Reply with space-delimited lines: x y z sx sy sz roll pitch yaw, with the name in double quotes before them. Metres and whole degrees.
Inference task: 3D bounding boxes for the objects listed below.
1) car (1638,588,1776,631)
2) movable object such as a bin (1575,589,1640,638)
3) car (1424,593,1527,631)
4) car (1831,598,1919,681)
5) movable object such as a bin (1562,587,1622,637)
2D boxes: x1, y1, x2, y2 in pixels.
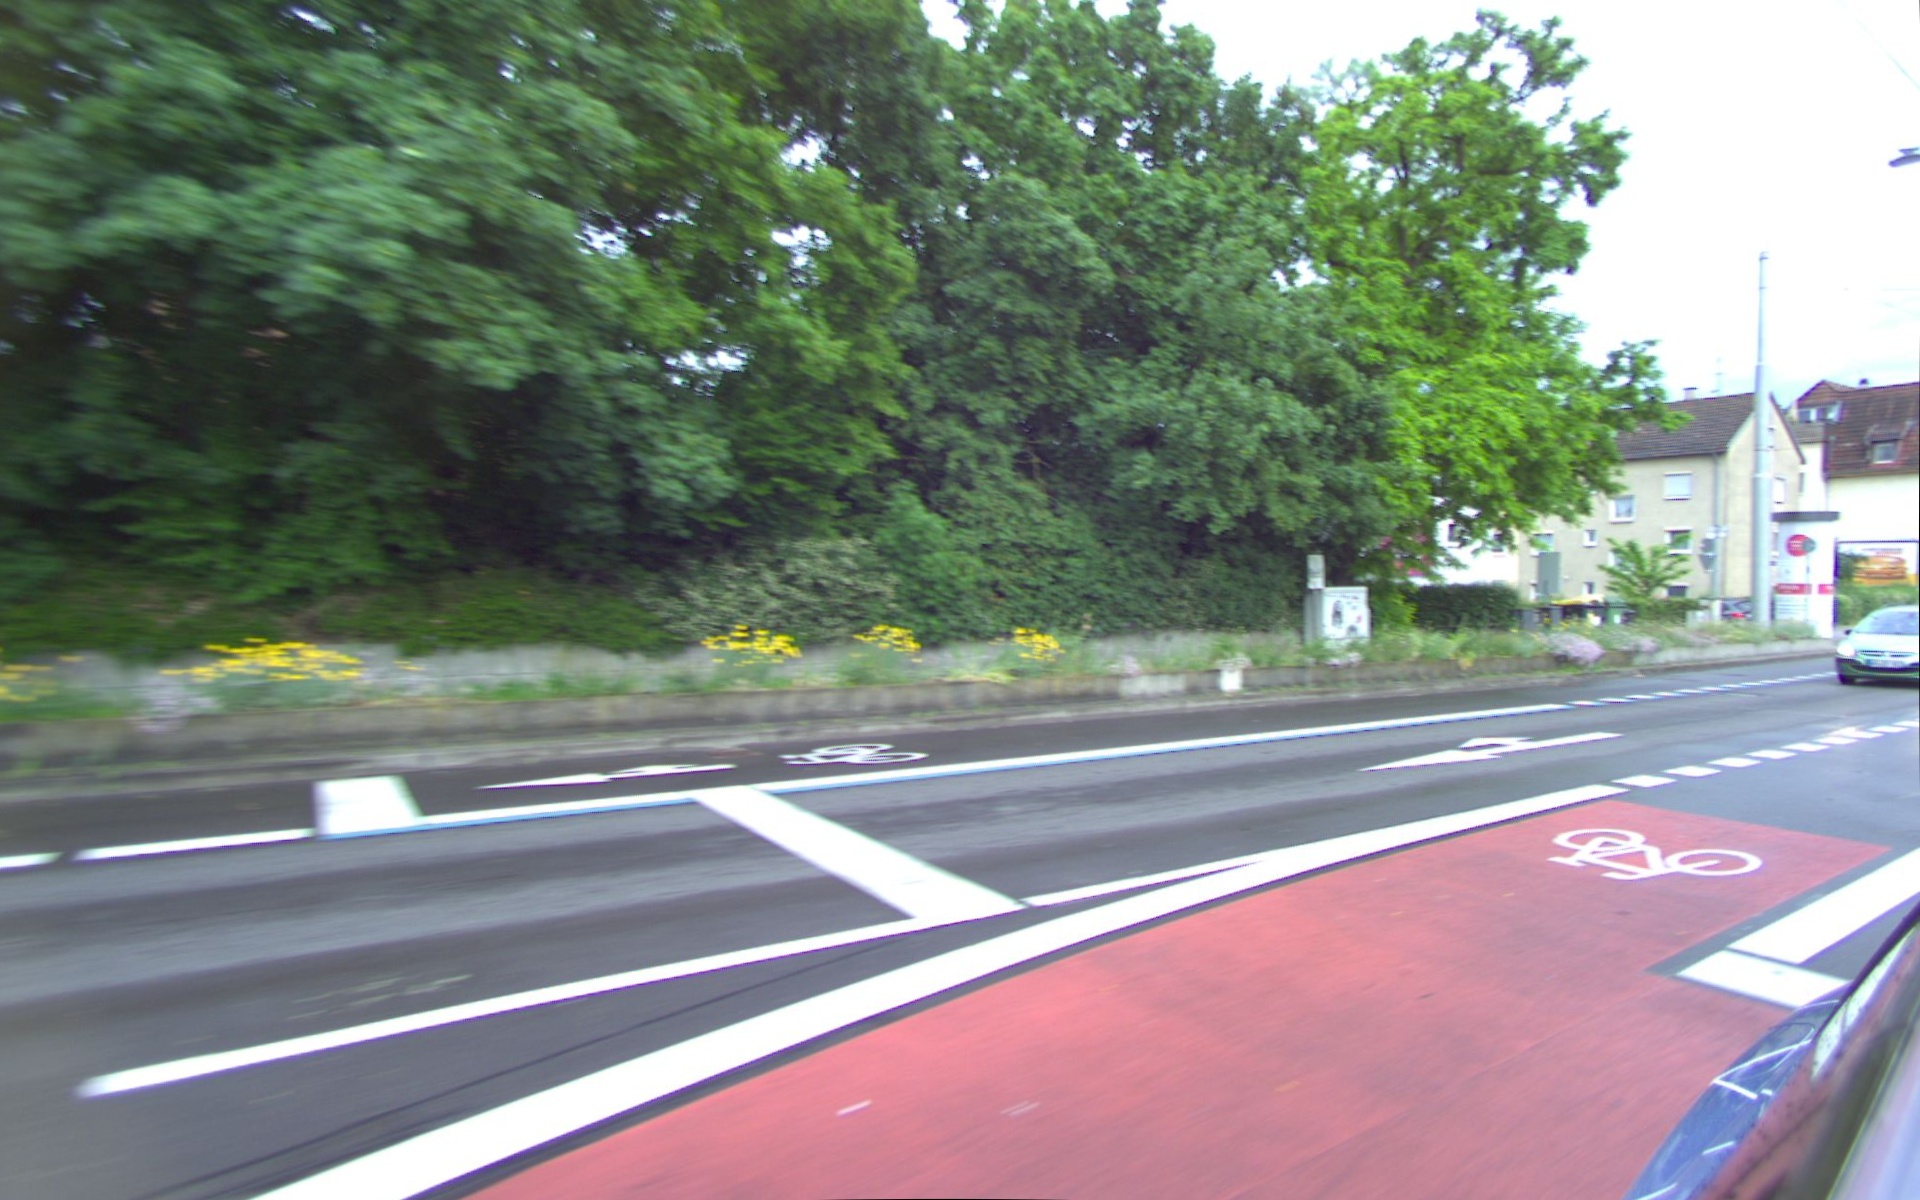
"car" 31.696 0.413 43.045 1.843 1.676 4.290 -2 0 -31
"movable object such as a bin" 19.905 0.401 31.126 1.276 1.435 1.314 -2 1 -37
"car" 26.255 0.640 51.679 1.844 1.817 4.286 -2 0 -35
"car" 18.660 0.708 19.516 4.121 1.467 1.889 0 1 -35
"movable object such as a bin" 18.820 0.345 30.149 1.114 1.435 1.187 -2 1 -37
